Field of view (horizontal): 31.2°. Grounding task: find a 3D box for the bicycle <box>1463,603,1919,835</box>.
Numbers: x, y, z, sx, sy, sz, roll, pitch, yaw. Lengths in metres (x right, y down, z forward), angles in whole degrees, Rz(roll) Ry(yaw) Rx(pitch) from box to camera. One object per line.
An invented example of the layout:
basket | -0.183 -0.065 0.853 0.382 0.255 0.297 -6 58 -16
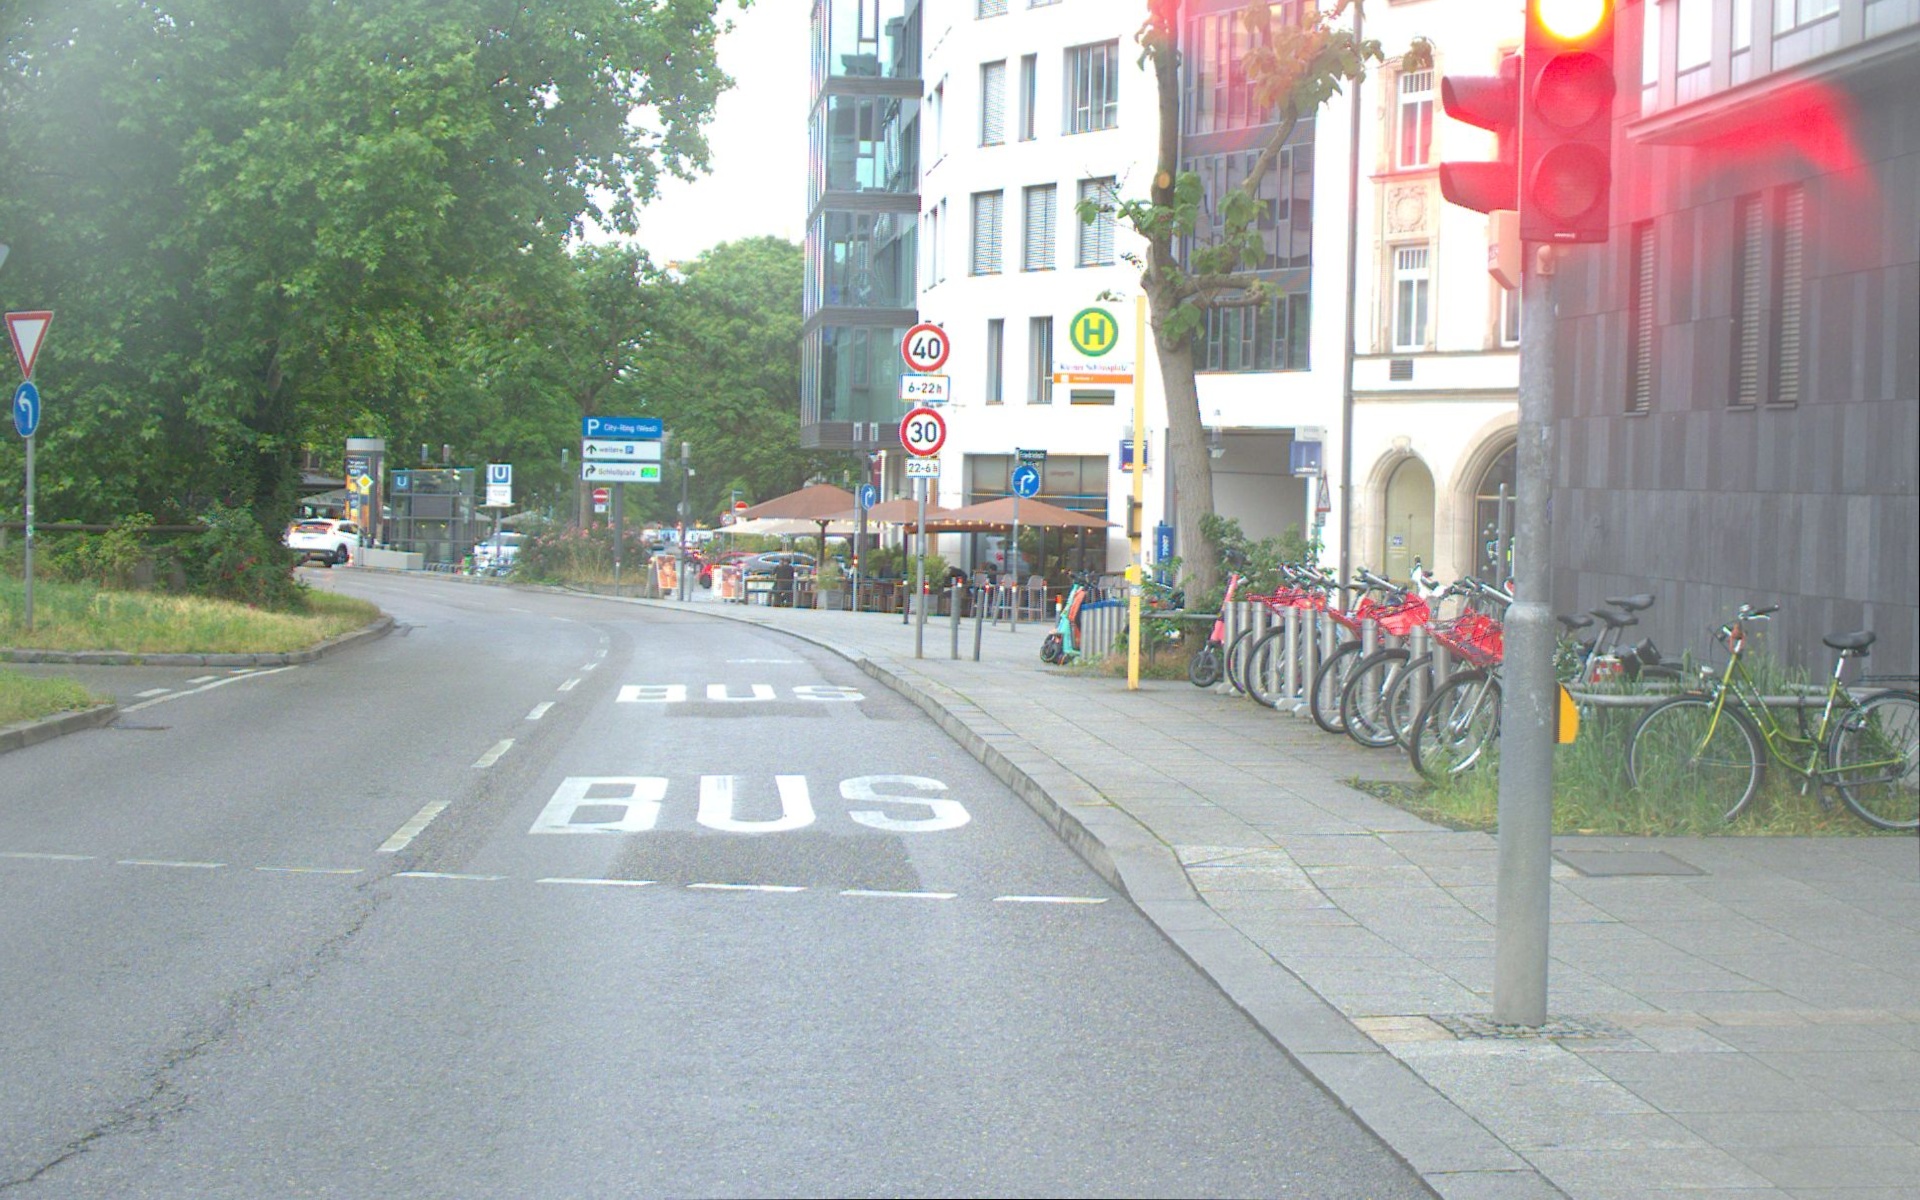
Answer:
bicycle | 3.742 0.565 16.460 2.535 1.053 0.677 1 1 -5

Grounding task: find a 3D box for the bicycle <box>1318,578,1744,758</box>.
bicycle | 3.578 0.422 21.630 2.535 1.083 0.677 1 1 -5

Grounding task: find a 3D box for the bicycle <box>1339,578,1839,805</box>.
bicycle | 3.411 0.492 18.740 2.535 1.083 0.677 3 1 -5

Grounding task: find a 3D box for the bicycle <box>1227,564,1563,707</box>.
bicycle | 3.423 0.277 27.171 2.535 1.083 0.677 1 1 -5

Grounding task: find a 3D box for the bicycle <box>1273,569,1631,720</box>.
bicycle | 3.647 0.325 25.580 2.535 1.083 0.677 1 1 -5

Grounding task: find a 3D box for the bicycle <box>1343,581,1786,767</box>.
bicycle | 3.644 0.442 20.820 2.535 1.083 0.677 1 1 -5

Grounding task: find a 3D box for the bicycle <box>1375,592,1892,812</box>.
bicycle | 3.497 0.526 17.937 2.535 1.083 0.677 1 1 -5

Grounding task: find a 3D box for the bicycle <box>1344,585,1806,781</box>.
bicycle | 3.555 0.476 19.966 2.535 1.083 0.677 1 1 -5

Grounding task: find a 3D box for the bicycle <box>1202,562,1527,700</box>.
bicycle | 3.288 0.248 28.060 2.535 1.083 0.677 1 1 -5

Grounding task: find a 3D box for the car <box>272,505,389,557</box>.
car | -21.601 -2.348 118.090 2.181 1.695 3.996 2 1 21

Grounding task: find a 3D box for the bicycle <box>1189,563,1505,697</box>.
bicycle | 3.232 0.246 28.807 2.535 1.083 0.677 1 1 -5

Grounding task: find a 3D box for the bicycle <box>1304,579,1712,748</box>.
bicycle | 3.573 0.409 22.497 2.535 1.056 0.677 1 1 -5

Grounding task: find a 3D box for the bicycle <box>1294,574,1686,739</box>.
bicycle | 3.592 0.379 23.406 2.535 1.083 0.677 1 1 -5

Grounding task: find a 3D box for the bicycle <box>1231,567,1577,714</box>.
bicycle | 3.397 0.305 26.419 2.535 1.083 0.677 1 1 -5

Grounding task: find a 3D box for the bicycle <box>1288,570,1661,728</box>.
bicycle | 3.670 0.344 24.602 2.535 1.083 0.677 1 1 -5

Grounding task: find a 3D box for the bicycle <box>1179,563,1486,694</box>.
bicycle | 3.188 0.242 29.529 2.535 1.083 0.627 1 1 -5
